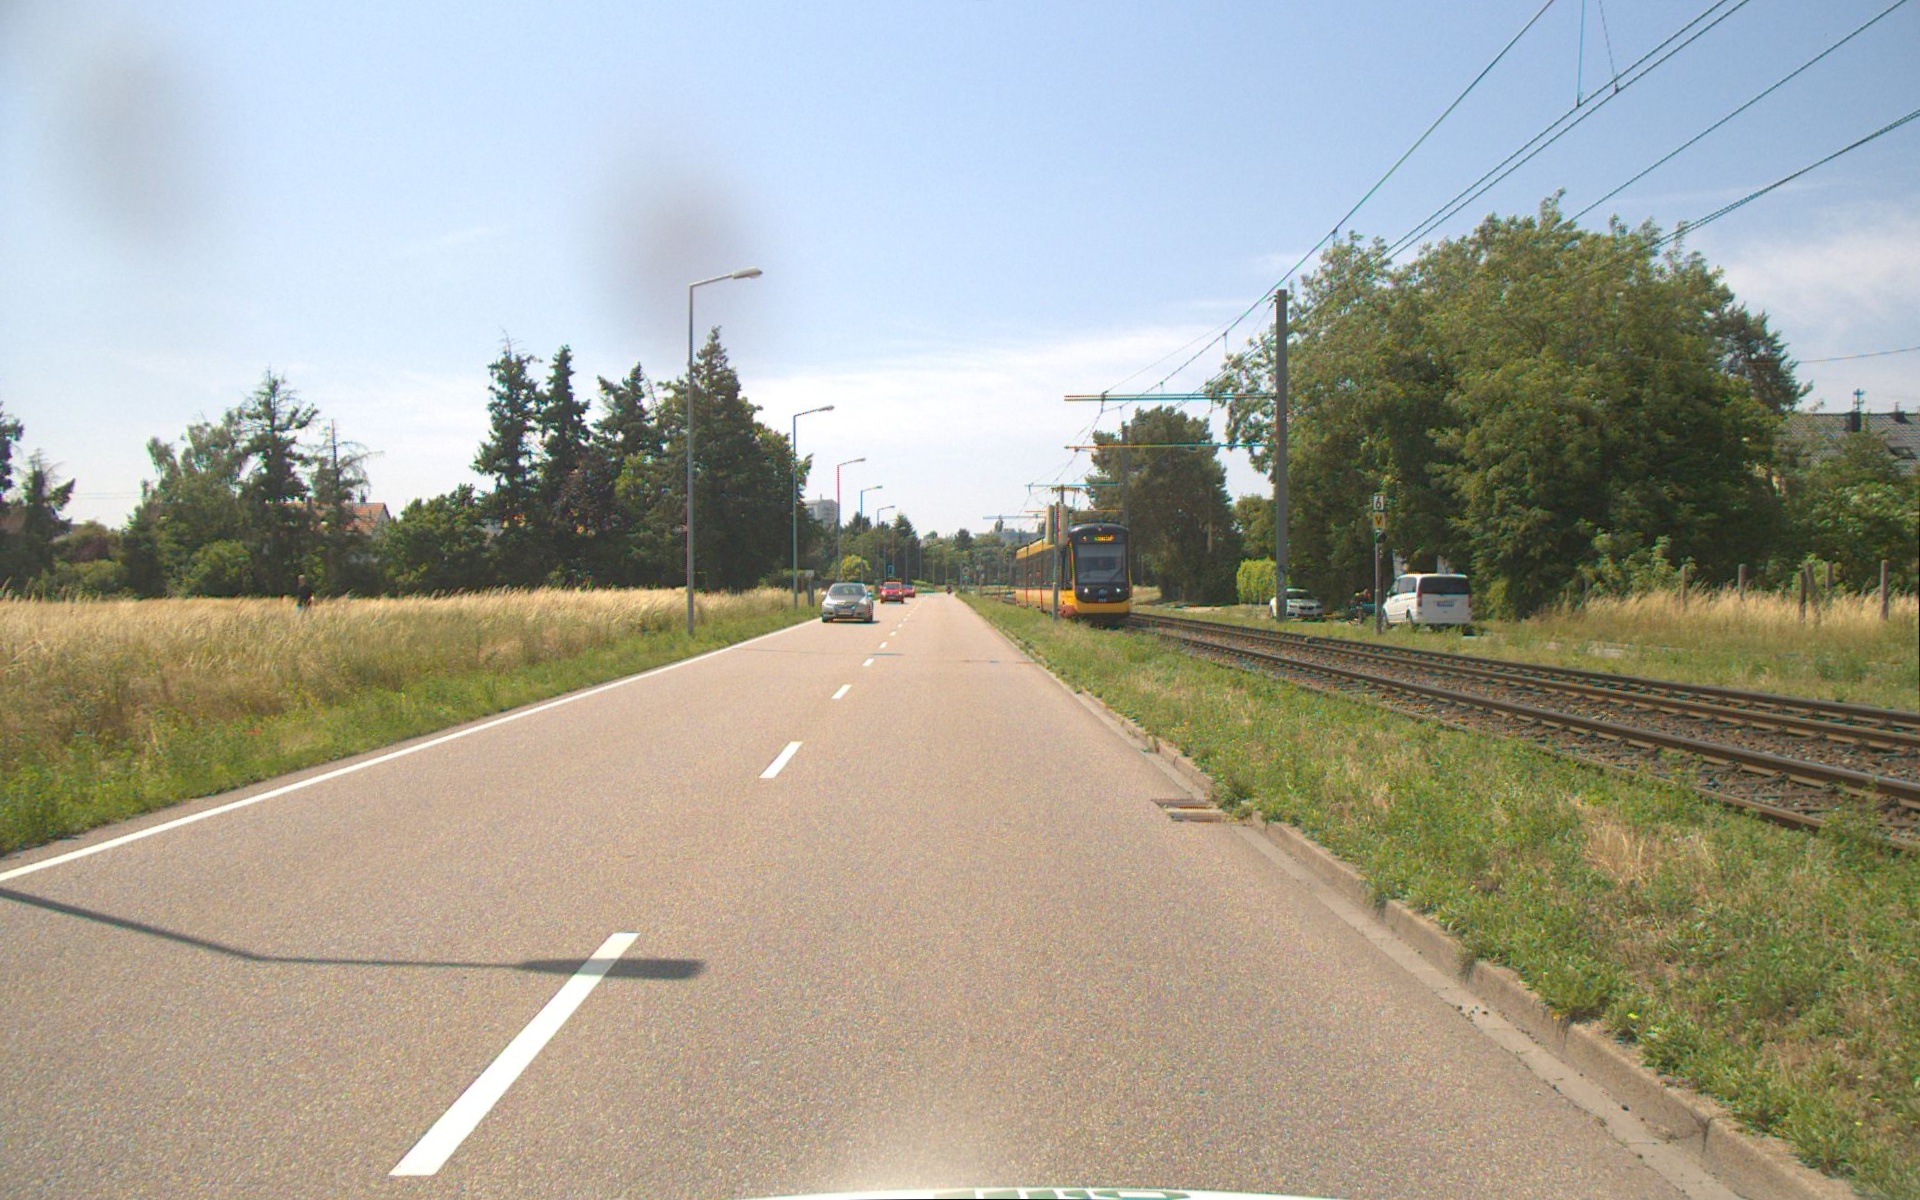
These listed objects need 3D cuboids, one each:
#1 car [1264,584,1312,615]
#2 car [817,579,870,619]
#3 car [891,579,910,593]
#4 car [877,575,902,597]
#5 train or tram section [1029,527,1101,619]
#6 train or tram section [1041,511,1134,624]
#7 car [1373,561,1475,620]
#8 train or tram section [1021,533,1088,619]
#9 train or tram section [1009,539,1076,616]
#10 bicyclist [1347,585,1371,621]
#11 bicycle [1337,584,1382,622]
[{"bbox_3d":[14.568,-0.030,73.585,1.399,1.331,3.465,-1,0,-1],"label":"car"},{"bbox_3d":[-4.457,-0.011,63.768,1.797,1.493,4.677,0,-1,-1],"label":"car"},{"bbox_3d":[-5.875,-1.355,162.656,1.770,1.308,4.285,-1,0,-1],"label":"car"},{"bbox_3d":[-4.904,-0.952,115.283,1.612,1.424,3.843,-1,0,-1],"label":"car"},{"bbox_3d":[4.473,-1.097,71.584,2.509,3.778,6.728,-1,0,-1],"label":"train or tram section"},{"bbox_3d":[4.647,-1.084,62.392,2.380,3.832,11.556,-1,0,-1],"label":"train or tram section"},{"bbox_3d":[15.218,-0.293,54.475,1.953,1.834,4.793,-1,0,-1],"label":"car"},{"bbox_3d":[4.406,-1.072,78.303,2.646,3.832,6.728,-1,0,-1],"label":"train or tram section"},{"bbox_3d":[4.244,-1.081,87.311,2.709,3.754,11.183,-1,0,-1],"label":"train or tram section"},{"bbox_3d":[15.699,0.120,65.099,0.687,1.361,0.903,-1,0,-1],"label":"bicyclist"},{"bbox_3d":[15.789,0.119,65.498,0.909,1.455,3.385,-1,0,-1],"label":"bicycle"}]
